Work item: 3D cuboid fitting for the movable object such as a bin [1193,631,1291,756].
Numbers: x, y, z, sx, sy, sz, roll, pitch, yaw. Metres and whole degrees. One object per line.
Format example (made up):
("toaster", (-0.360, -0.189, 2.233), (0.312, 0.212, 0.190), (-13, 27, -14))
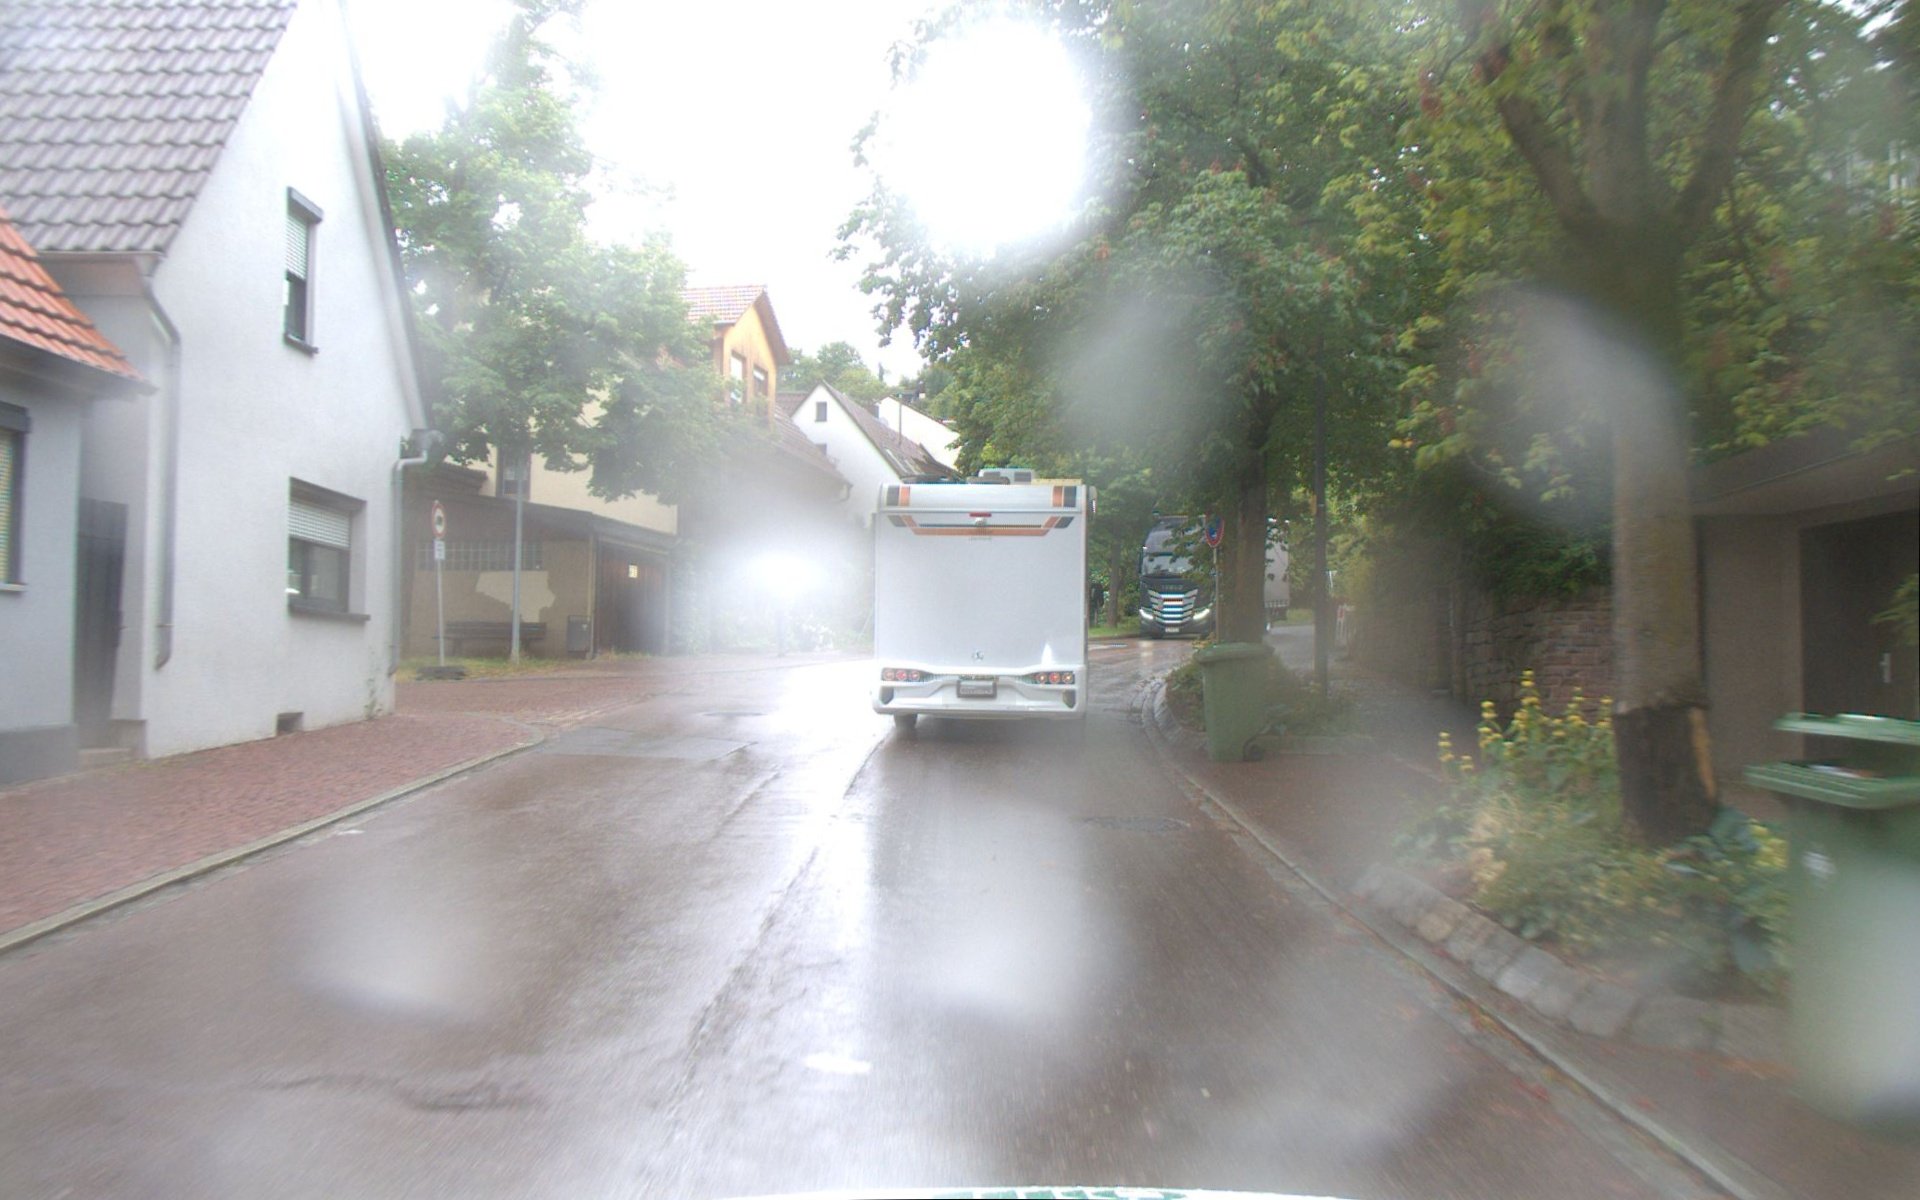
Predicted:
("movable object such as a bin", (2.682, 0.880, 15.811), (0.753, 1.126, 0.884), (-1, 0, -1))

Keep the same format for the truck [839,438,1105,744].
("truck", (0.261, -0.116, 19.678), (2.638, 3.038, 6.239), (1, 0, 3))

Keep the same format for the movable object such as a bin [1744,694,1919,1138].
("movable object such as a bin", (2.833, 0.879, 4.856), (0.709, 1.163, 0.703), (1, 0, -4))

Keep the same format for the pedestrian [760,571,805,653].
("pedestrian", (-4.173, 0.288, 38.983), (0.776, 1.901, 0.917), (0, -1, 12))

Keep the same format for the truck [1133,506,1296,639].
("truck", (9.067, -0.874, 57.595), (2.782, 4.239, 9.967), (1, 0, 26))

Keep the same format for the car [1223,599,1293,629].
("car", (18.119, 0.859, 100.738), (3.905, 1.793, 2.000), (1, -1, 0))
